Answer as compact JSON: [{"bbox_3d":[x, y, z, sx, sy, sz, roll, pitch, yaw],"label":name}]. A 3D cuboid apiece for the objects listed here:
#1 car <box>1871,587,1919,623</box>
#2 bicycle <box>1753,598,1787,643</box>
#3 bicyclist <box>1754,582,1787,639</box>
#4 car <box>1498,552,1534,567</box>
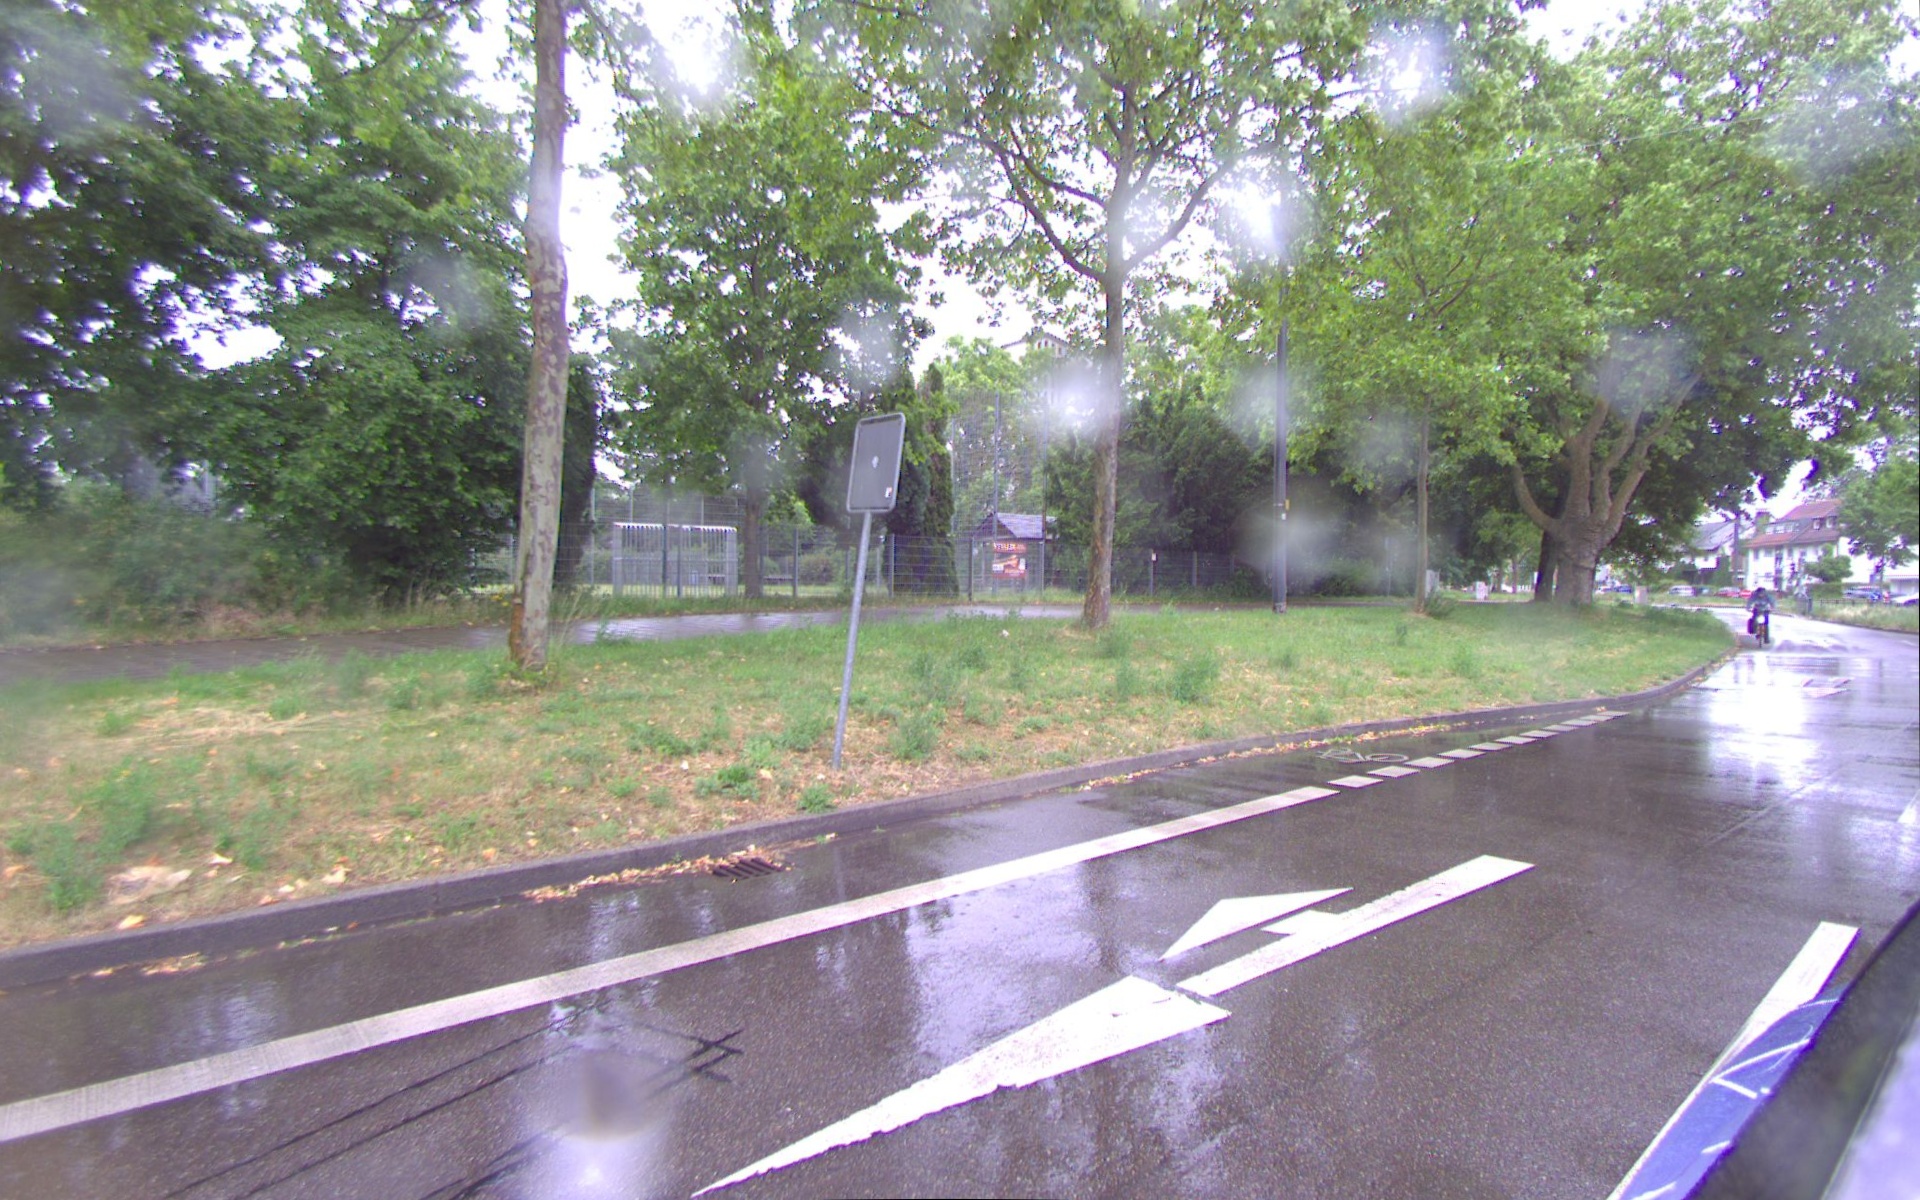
[{"bbox_3d":[39.370,0.185,40.660,4.025,1.438,1.652,0,0,39],"label":"car"},{"bbox_3d":[22.048,0.534,27.538,0.690,1.131,1.858,0,1,40],"label":"bicycle"},{"bbox_3d":[22.046,0.281,27.532,0.690,1.525,0.832,0,1,40],"label":"bicyclist"},{"bbox_3d":[73.666,-5.314,134.137,3.958,1.850,1.983,0,0,25],"label":"car"}]
